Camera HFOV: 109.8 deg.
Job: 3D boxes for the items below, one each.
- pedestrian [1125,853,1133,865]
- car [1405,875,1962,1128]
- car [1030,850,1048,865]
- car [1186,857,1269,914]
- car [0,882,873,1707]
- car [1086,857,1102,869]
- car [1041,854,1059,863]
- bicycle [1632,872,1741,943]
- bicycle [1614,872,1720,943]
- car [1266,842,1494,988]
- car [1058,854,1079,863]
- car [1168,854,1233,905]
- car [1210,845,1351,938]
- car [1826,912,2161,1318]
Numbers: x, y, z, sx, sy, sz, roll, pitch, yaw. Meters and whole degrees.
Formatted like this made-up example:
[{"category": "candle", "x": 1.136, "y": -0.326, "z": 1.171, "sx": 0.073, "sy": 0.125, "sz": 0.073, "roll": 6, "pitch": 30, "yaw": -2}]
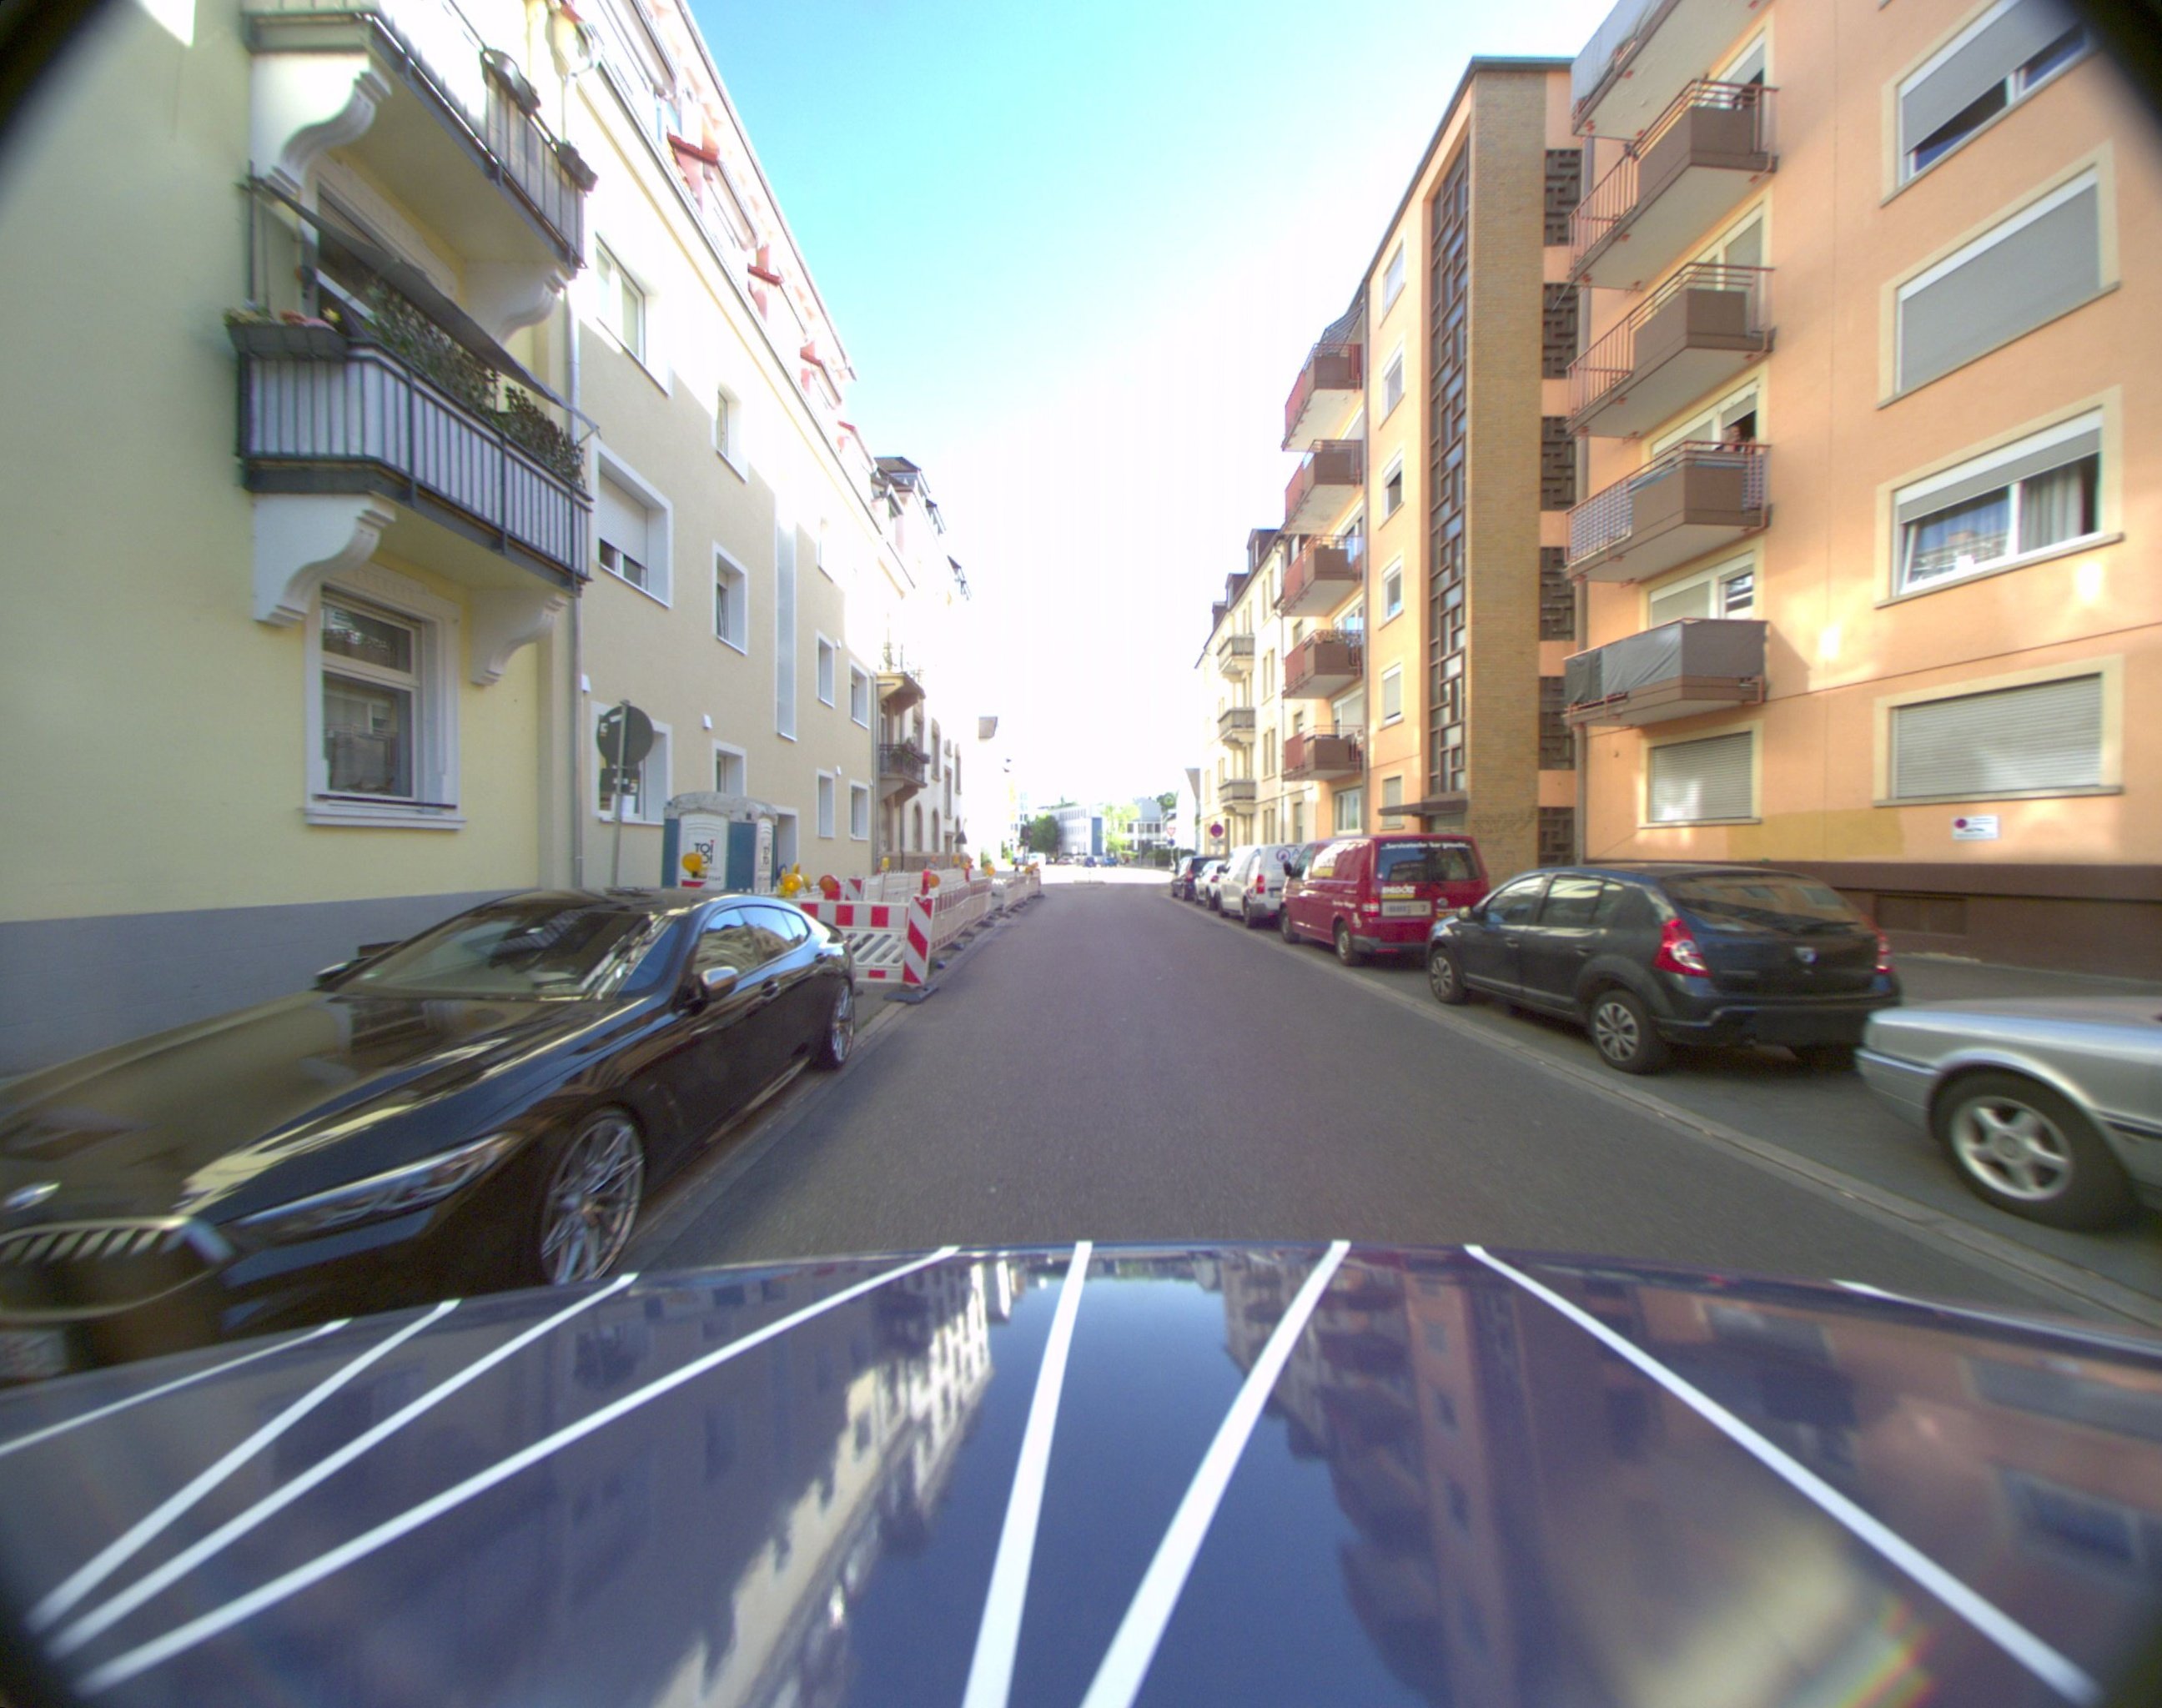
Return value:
[{"category": "pedestrian", "x": 6.906, "y": 0.653, "z": 109.353, "sx": 0.819, "sy": 1.696, "sz": 0.996, "roll": -1, "pitch": 1, "yaw": -9}, {"category": "car", "x": 4.705, "y": 1.001, "z": 6.852, "sx": 1.767, "sy": 1.494, "sz": 3.999, "roll": 1, "pitch": 0, "yaw": -2}, {"category": "car", "x": -5.780, "y": 0.465, "z": 105.621, "sx": 1.998, "sy": 2.002, "sz": 4.797, "roll": 3, "pitch": 0, "yaw": 1}, {"category": "car", "x": 4.580, "y": 0.926, "z": 24.316, "sx": 1.767, "sy": 1.611, "sz": 4.294, "roll": -1, "pitch": 0, "yaw": -1}, {"category": "car", "x": -2.680, "y": 0.995, "z": 3.912, "sx": 1.805, "sy": 1.462, "sz": 5.111, "roll": 2, "pitch": 0, "yaw": -1}, {"category": "car", "x": 1.966, "y": 1.305, "z": 113.279, "sx": 1.880, "sy": 1.685, "sz": 4.271, "roll": 0, "pitch": -1, "yaw": -6}, {"category": "car", "x": -6.132, "y": 0.864, "z": 149.072, "sx": 2.141, "sy": 1.604, "sz": 4.826, "roll": -2, "pitch": 1, "yaw": -21}, {"category": "bicycle", "x": 10.490, "y": 0.888, "z": 13.233, "sx": 0.342, "sy": 1.107, "sz": 1.762, "roll": 0, "pitch": 0, "yaw": -6}, {"category": "bicycle", "x": 10.105, "y": 0.894, "z": 13.182, "sx": 0.342, "sy": 1.107, "sz": 1.762, "roll": 0, "pitch": 0, "yaw": -6}, {"category": "car", "x": 4.569, "y": 0.807, "z": 12.551, "sx": 1.767, "sy": 1.914, "sz": 4.934, "roll": -1, "pitch": 0, "yaw": -1}, {"category": "car", "x": -2.363, "y": 0.815, "z": 139.204, "sx": 2.141, "sy": 1.604, "sz": 4.826, "roll": -2, "pitch": 1, "yaw": -22}, {"category": "car", "x": 4.456, "y": 0.903, "z": 28.910, "sx": 1.767, "sy": 1.760, "sz": 4.293, "roll": -1, "pitch": 0, "yaw": -1}, {"category": "car", "x": 4.609, "y": 0.777, "z": 18.514, "sx": 1.980, "sy": 1.914, "sz": 5.308, "roll": -1, "pitch": 0, "yaw": -1}, {"category": "car", "x": 4.828, "y": 1.004, "z": 1.794, "sx": 1.767, "sy": 1.369, "sz": 4.478, "roll": -1, "pitch": 0, "yaw": 0}]
